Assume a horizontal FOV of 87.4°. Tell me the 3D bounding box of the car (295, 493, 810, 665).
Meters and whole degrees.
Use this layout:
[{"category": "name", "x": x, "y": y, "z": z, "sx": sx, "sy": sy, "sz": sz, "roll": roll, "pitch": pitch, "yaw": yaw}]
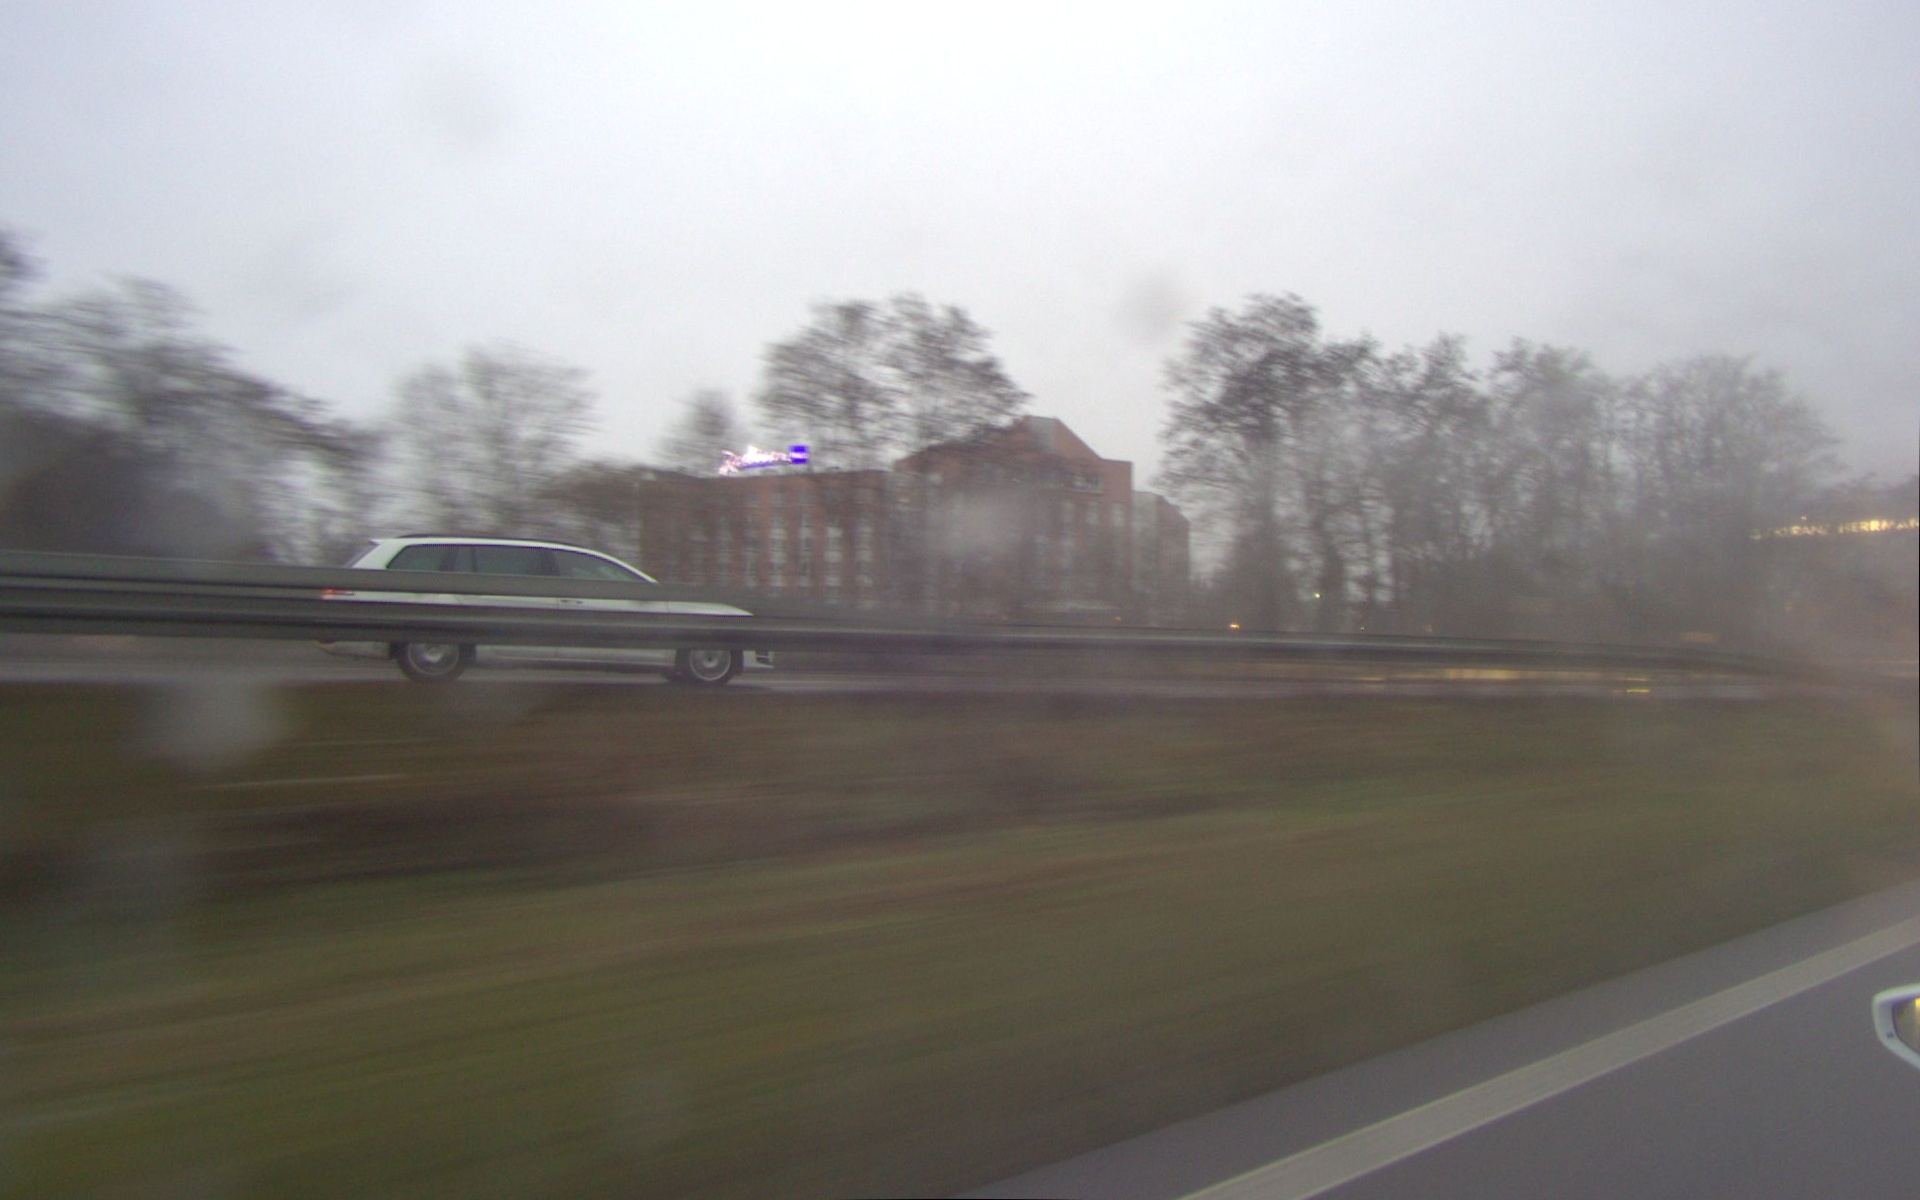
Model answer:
[{"category": "car", "x": -4.182, "y": -0.092, "z": 10.862, "sx": 4.723, "sy": 1.540, "sz": 1.942, "roll": 1, "pitch": -3, "yaw": -25}]
